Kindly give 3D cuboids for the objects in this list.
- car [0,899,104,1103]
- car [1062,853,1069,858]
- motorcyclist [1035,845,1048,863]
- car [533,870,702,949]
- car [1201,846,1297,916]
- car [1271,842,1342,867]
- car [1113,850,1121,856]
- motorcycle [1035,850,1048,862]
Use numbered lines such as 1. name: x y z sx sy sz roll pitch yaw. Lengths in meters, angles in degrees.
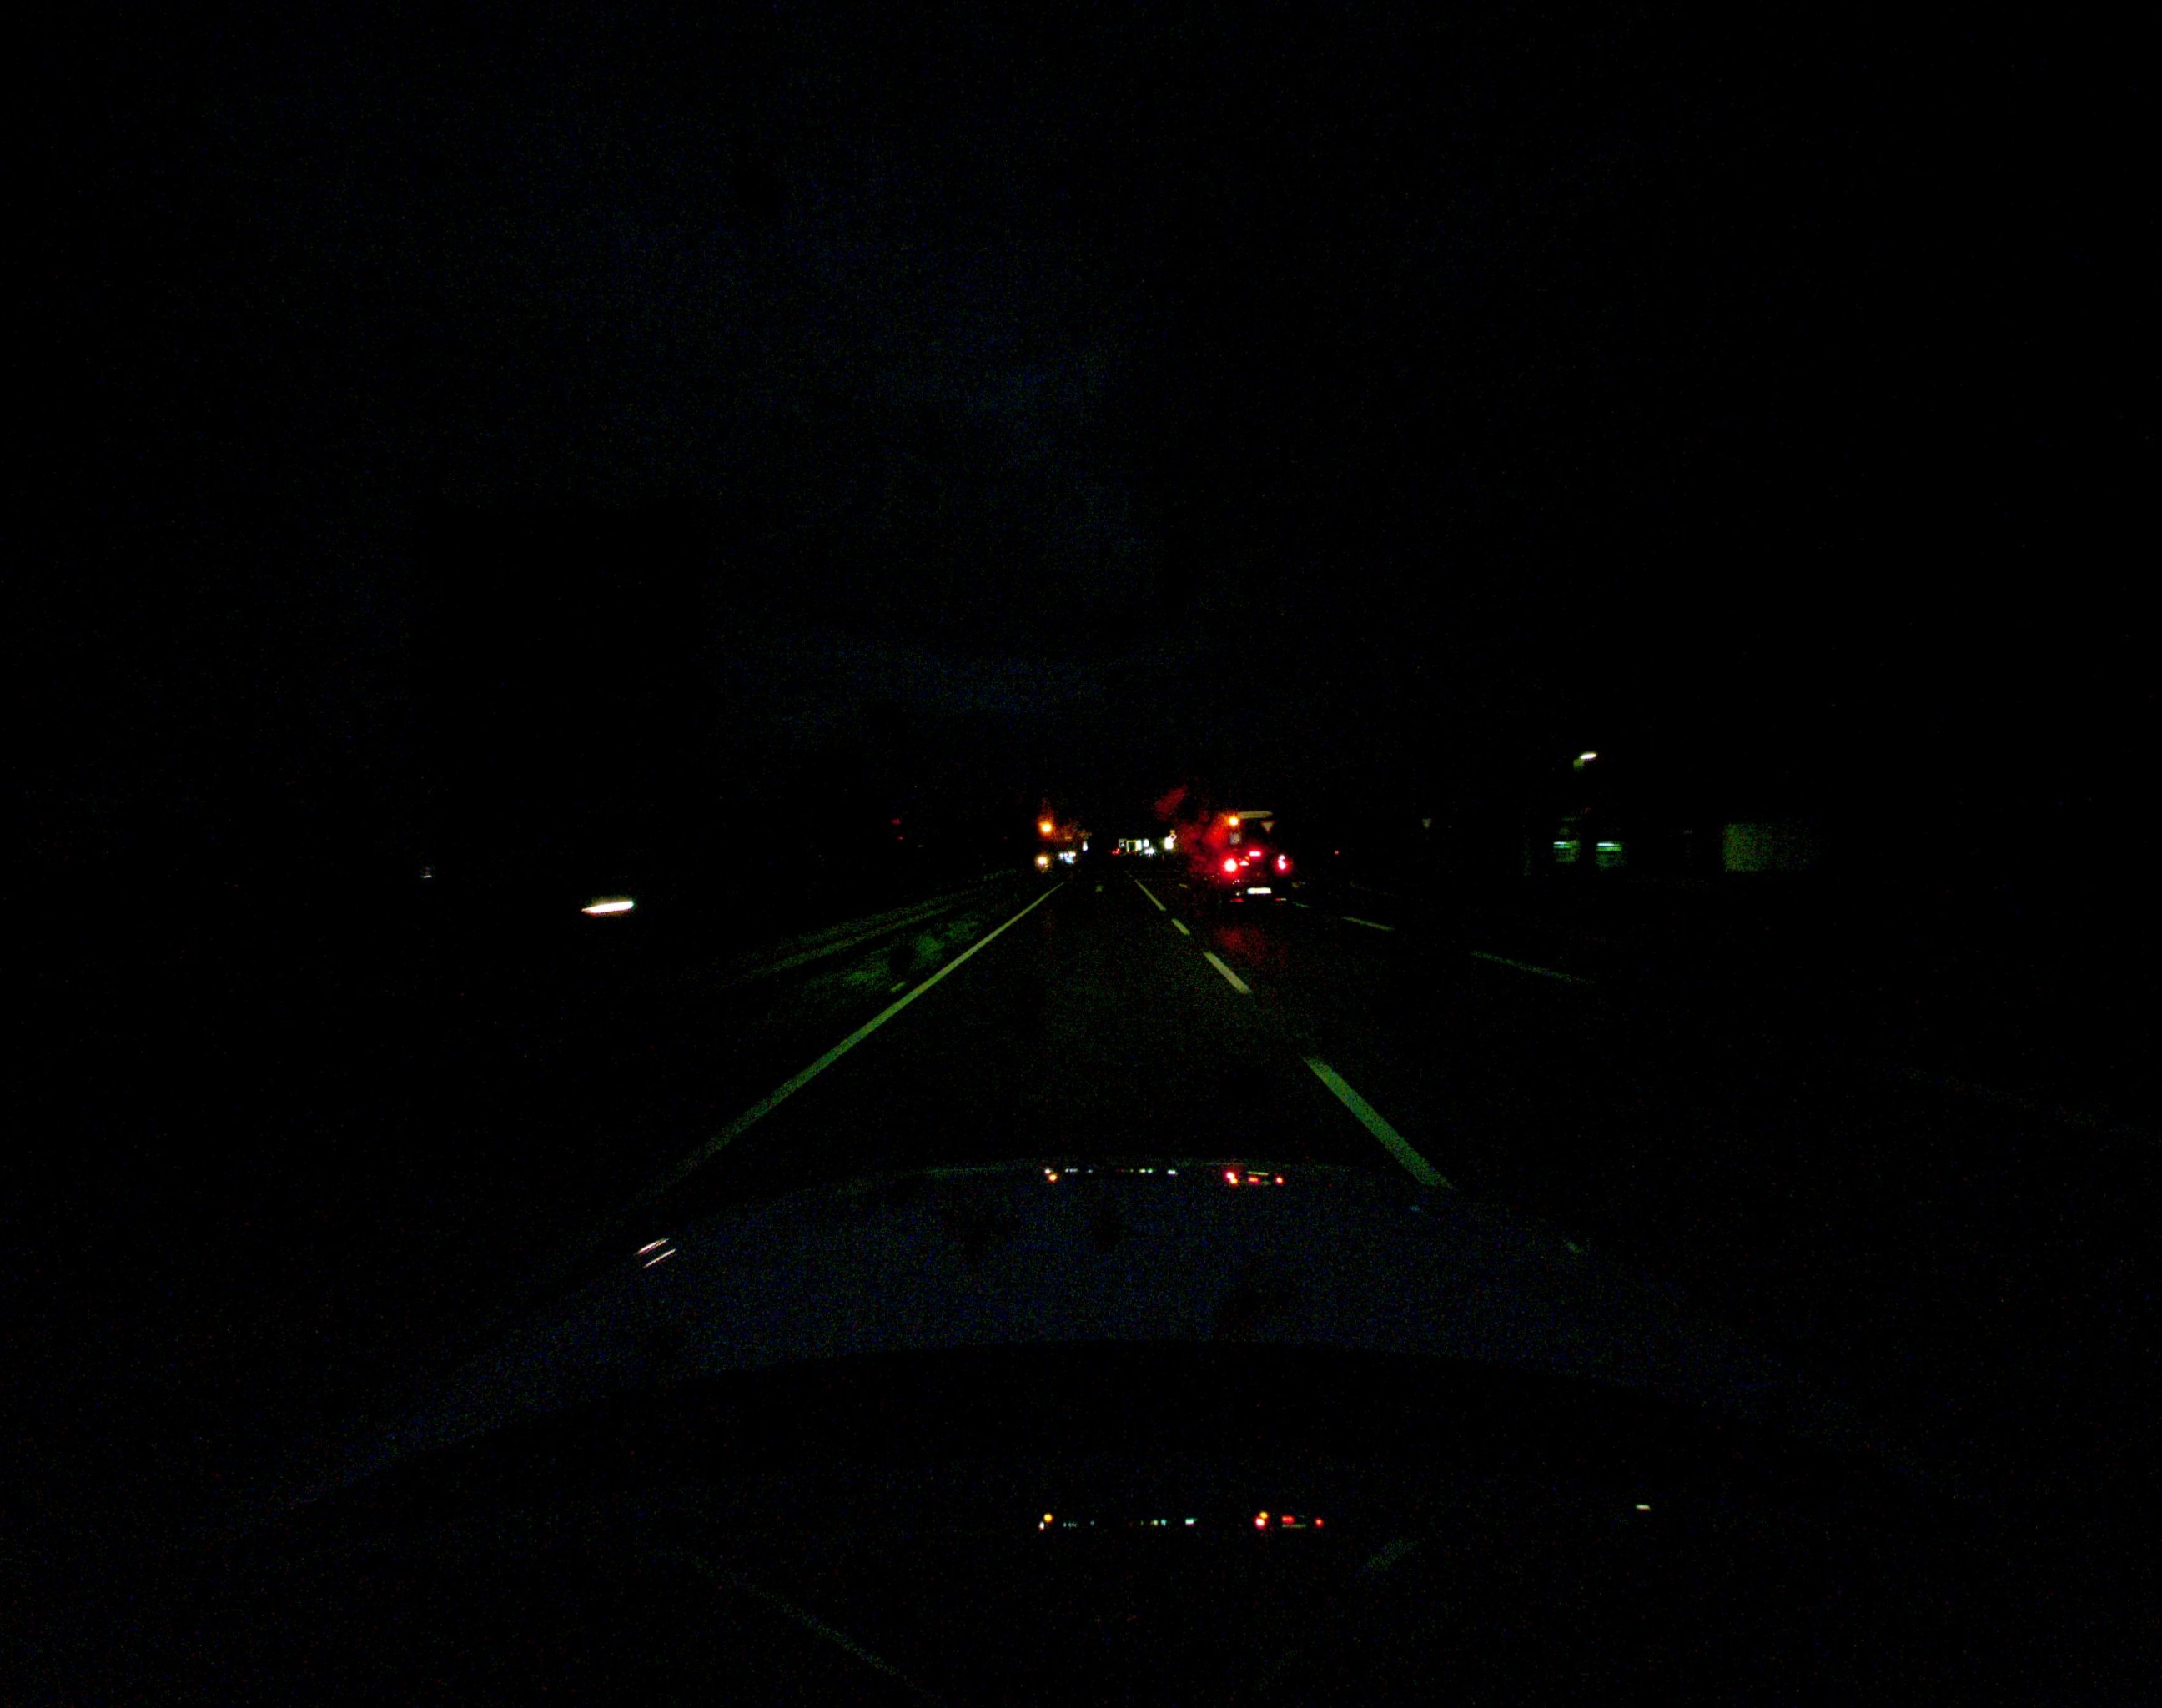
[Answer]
1. car: -8.782 1.143 4.230 1.915 1.431 4.500 -3 0 -1
2. car: -4.645 0.382 249.894 1.986 1.519 4.299 -2 0 1
3. motorcyclist: -3.660 -0.024 75.566 1.133 1.584 0.973 -3 0 0
4. car: -11.841 1.335 21.213 1.789 1.671 4.500 -2 0 -1
5. car: 4.017 0.594 20.069 1.663 1.520 4.109 -1 0 3
6. car: 16.259 0.050 58.956 4.583 1.520 2.001 -3 0 1
7. car: 10.552 -0.314 239.982 2.266 1.632 4.000 -2 0 1
8. motorcycle: -3.682 0.176 75.540 0.975 1.098 2.509 -3 0 1
